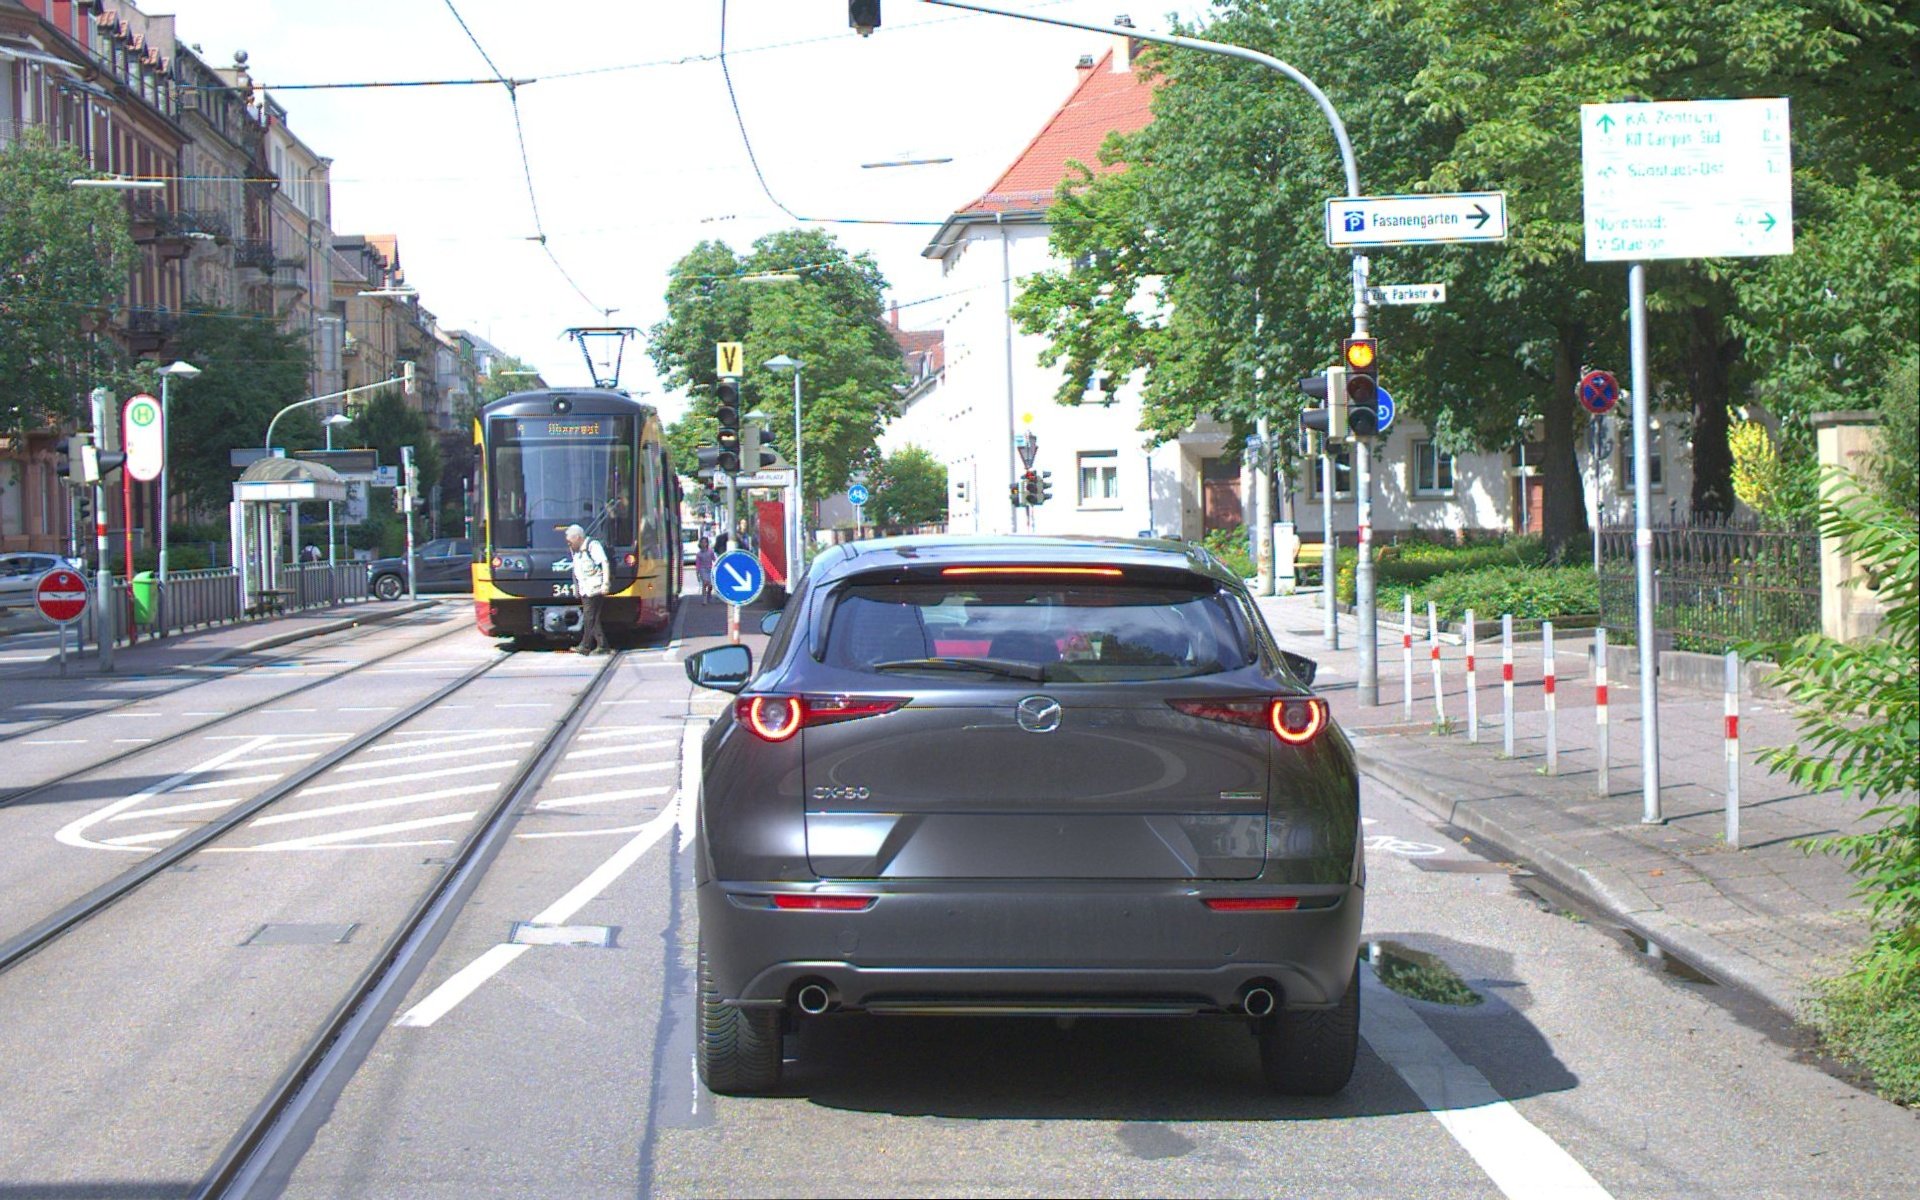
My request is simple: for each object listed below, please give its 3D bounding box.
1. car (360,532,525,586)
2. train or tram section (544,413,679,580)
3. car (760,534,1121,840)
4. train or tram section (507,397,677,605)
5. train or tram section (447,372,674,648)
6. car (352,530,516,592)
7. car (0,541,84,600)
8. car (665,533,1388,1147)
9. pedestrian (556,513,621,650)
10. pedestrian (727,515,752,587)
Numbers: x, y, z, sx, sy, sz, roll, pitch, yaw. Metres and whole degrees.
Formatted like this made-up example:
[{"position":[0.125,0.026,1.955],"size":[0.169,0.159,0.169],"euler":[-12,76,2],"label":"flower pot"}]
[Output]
[{"position":[-13.750,-1.102,91.375],"size":[3.987,1.356,1.678],"euler":[-2,1,-30],"label":"car"},{"position":[-7.966,-2.464,80.005],"size":[2.752,3.478,14.411],"euler":[-1,2,-5],"label":"train or tram section"},{"position":[-0.129,0.397,19.165],"size":[1.778,1.494,4.000],"euler":[1,1,-1],"label":"car"},{"position":[-6.844,-1.941,65.641],"size":[2.752,3.478,14.411],"euler":[-1,2,-5],"label":"train or tram section"},{"position":[-5.716,-1.421,51.265],"size":[2.752,3.478,14.411],"euler":[-1,2,-5],"label":"train or tram section"},{"position":[-13.468,-1.000,87.977],"size":[3.986,1.492,1.679],"euler":[-1,1,-14],"label":"car"},{"position":[-23.180,-0.696,82.220],"size":[3.987,1.356,1.678],"euler":[-2,1,-32],"label":"car"},{"position":[0.133,0.561,10.559],"size":[1.778,1.494,4.000],"euler":[1,1,-1],"label":"car"},{"position":[-4.692,-0.235,43.403],"size":[0.716,1.699,0.824],"euler":[-1,1,-11],"label":"pedestrian"},{"position":[-4.467,-0.995,69.615],"size":[0.450,1.429,0.474],"euler":[-1,1,-5],"label":"pedestrian"}]
